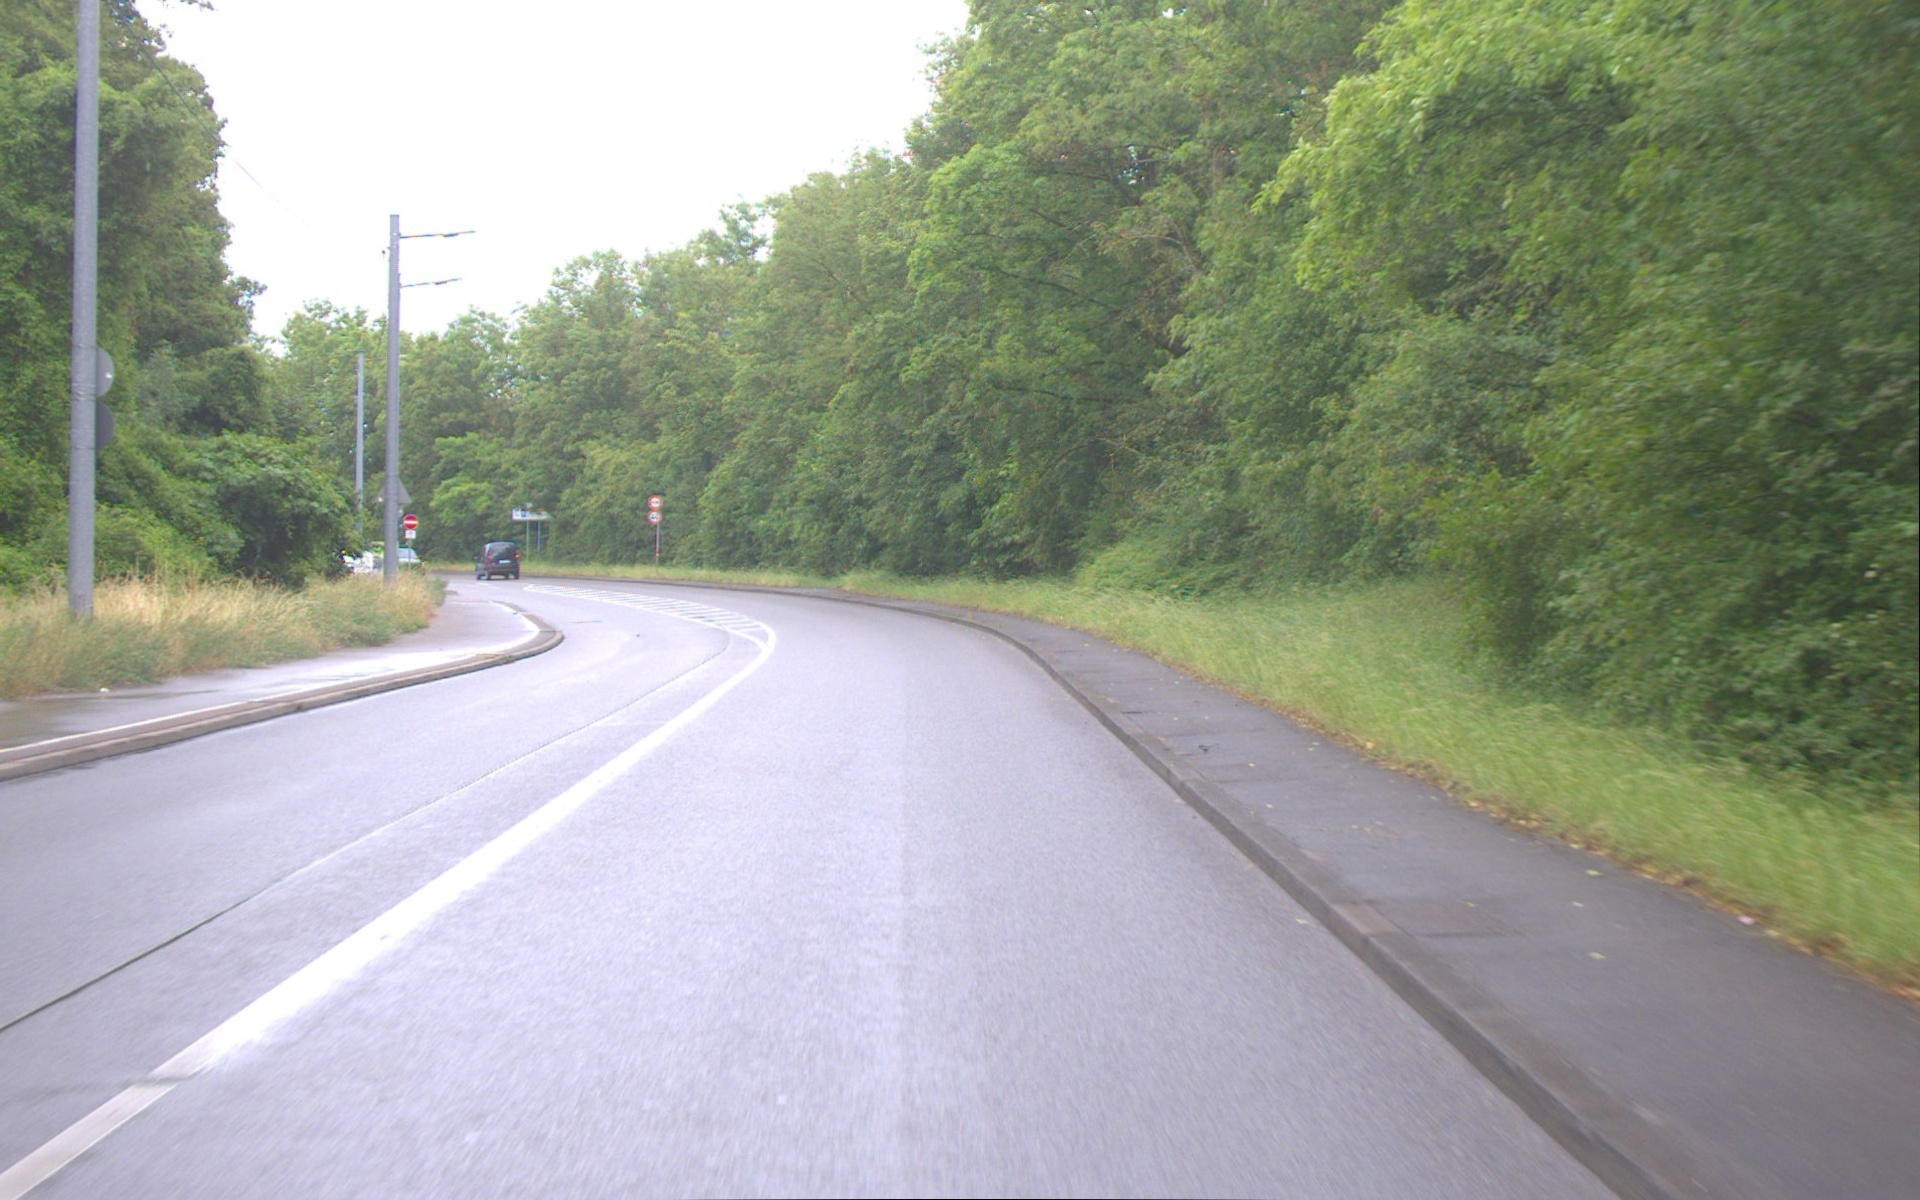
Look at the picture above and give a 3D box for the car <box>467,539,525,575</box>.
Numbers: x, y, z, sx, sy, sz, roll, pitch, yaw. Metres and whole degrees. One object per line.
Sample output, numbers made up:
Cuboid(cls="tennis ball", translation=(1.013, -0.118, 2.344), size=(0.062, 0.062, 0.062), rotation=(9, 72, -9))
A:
Cuboid(cls="car", translation=(-23.002, -2.147, 170.437), size=(1.867, 1.590, 4.001), rotation=(5, 0, -21))
